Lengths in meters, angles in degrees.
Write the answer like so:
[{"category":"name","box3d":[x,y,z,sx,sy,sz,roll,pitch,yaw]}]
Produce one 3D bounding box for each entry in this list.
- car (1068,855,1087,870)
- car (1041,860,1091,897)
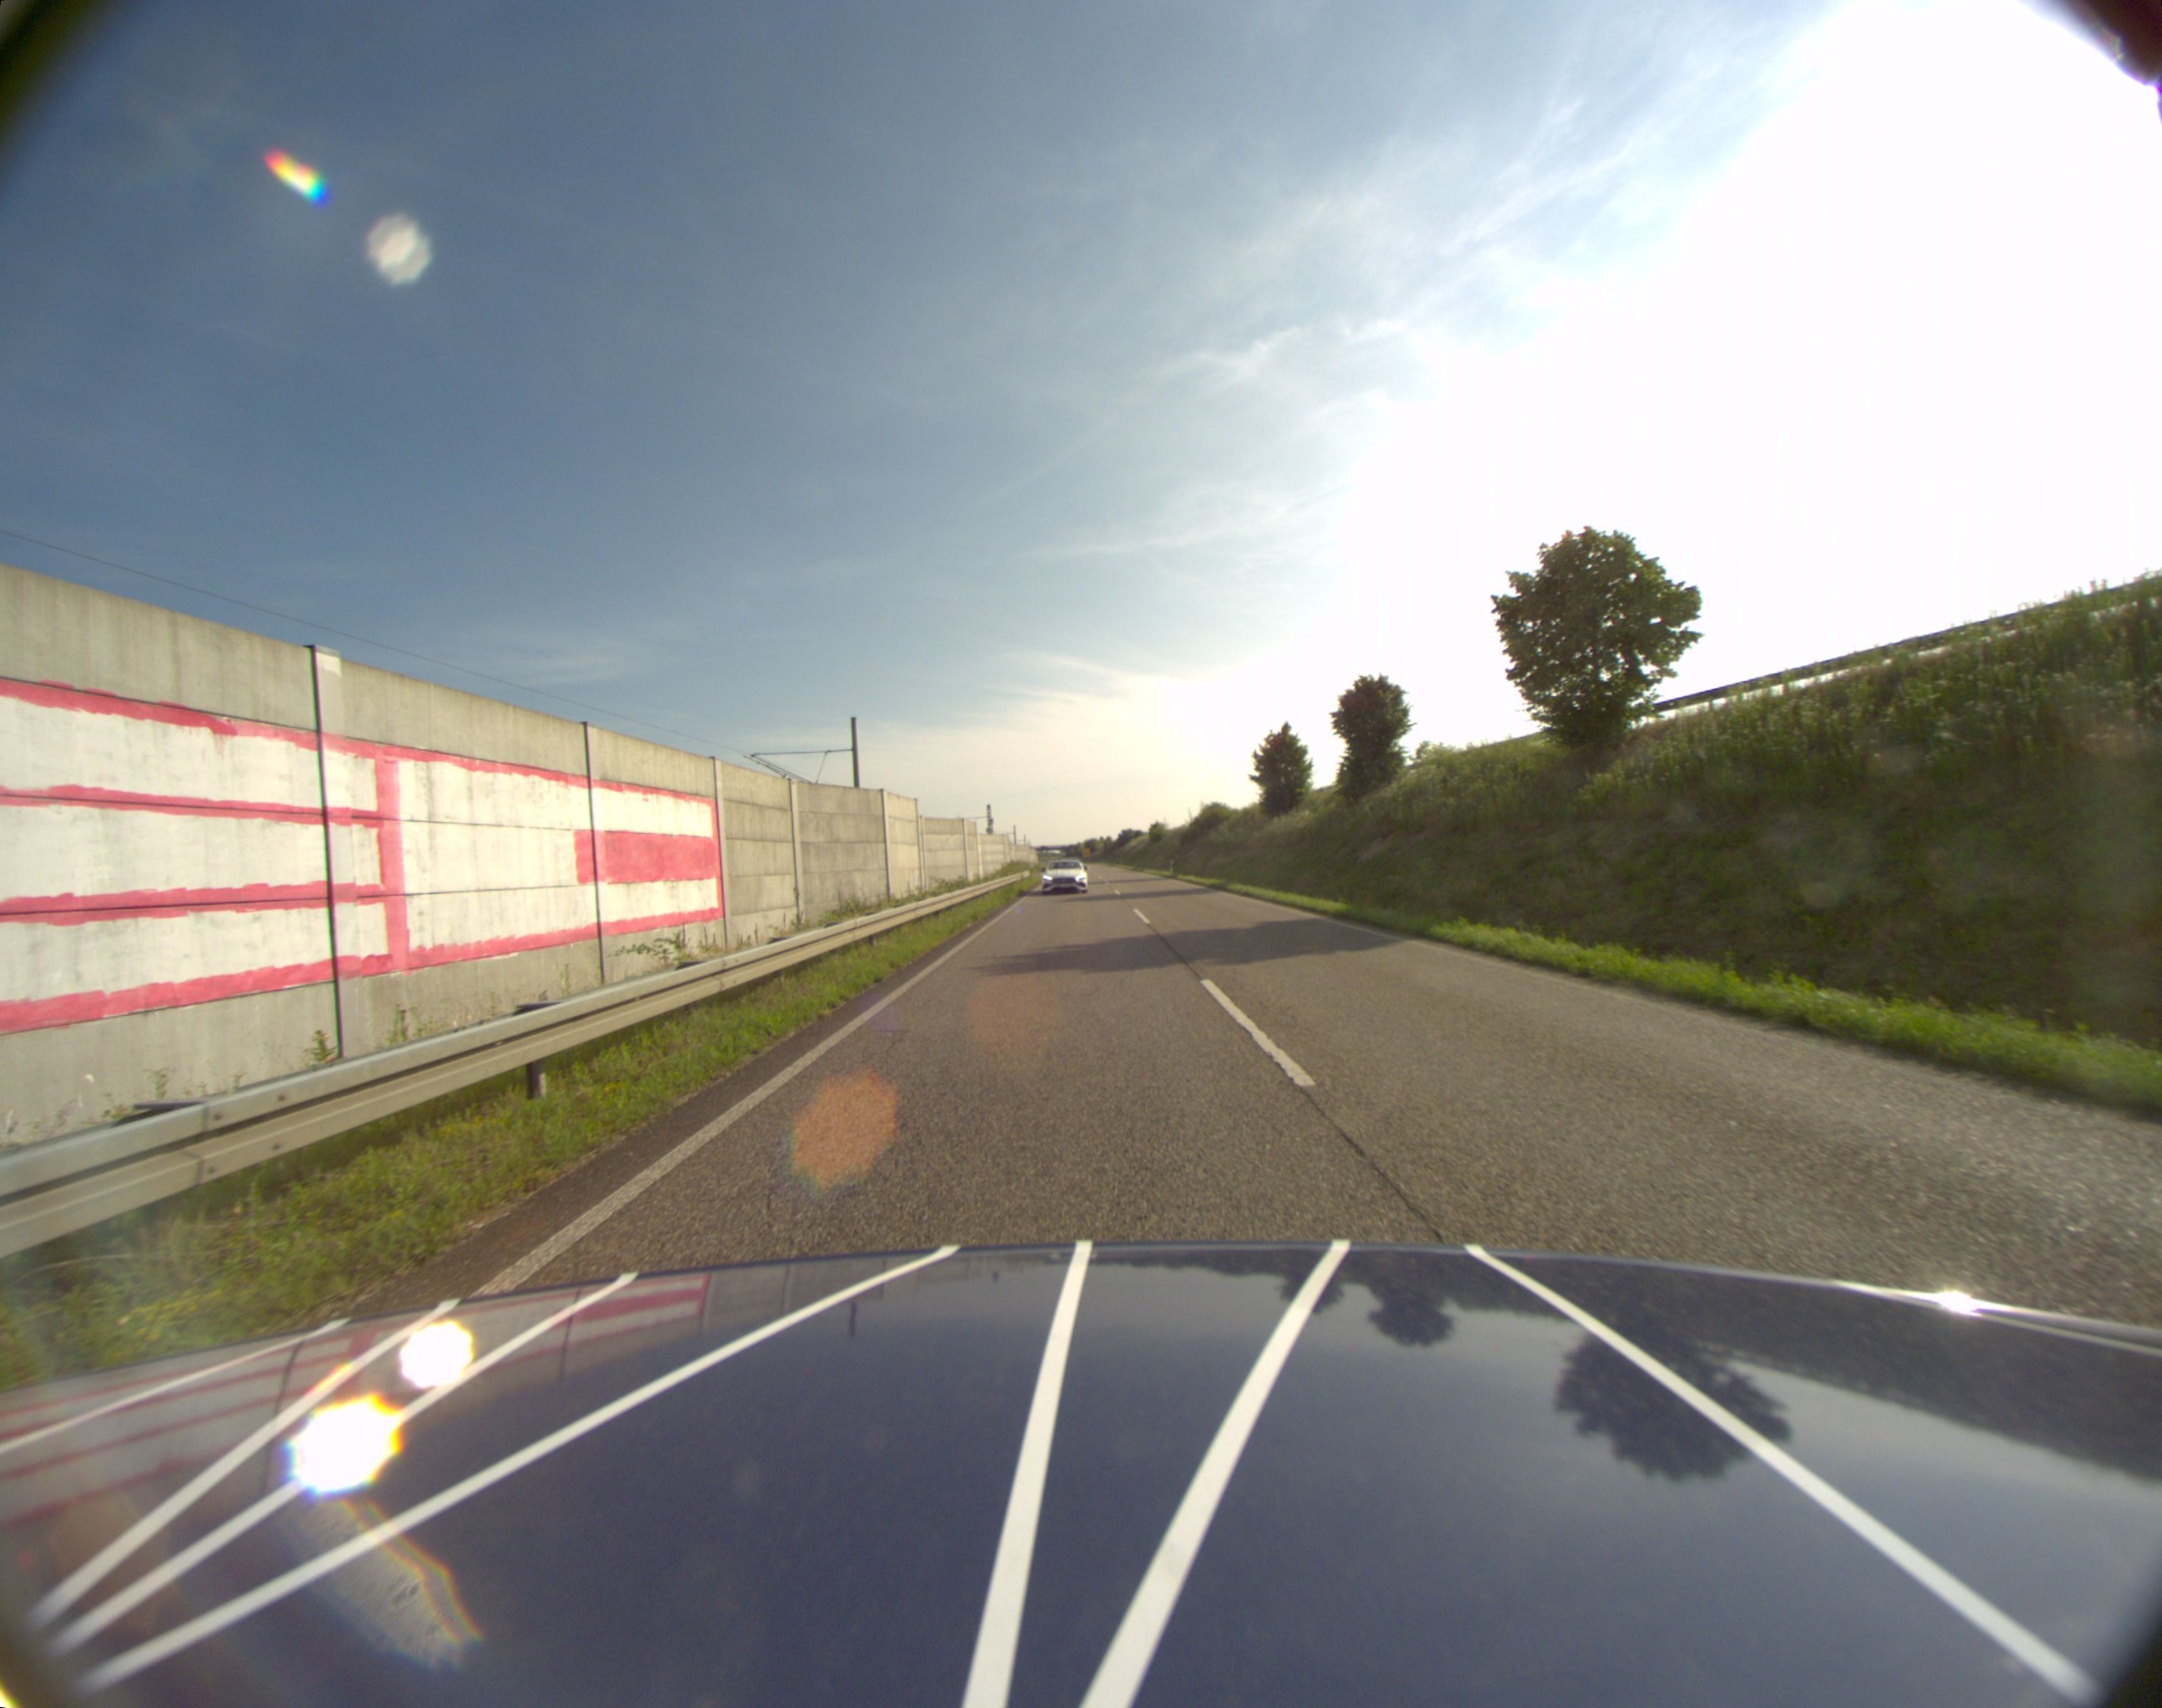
[{"category":"car","box3d":[-0.344,0.905,80.893,1.930,1.399,4.973,-1,1,0]},{"category":"car","box3d":[-0.646,0.994,32.970,1.930,1.398,4.974,-2,0,-1]}]
